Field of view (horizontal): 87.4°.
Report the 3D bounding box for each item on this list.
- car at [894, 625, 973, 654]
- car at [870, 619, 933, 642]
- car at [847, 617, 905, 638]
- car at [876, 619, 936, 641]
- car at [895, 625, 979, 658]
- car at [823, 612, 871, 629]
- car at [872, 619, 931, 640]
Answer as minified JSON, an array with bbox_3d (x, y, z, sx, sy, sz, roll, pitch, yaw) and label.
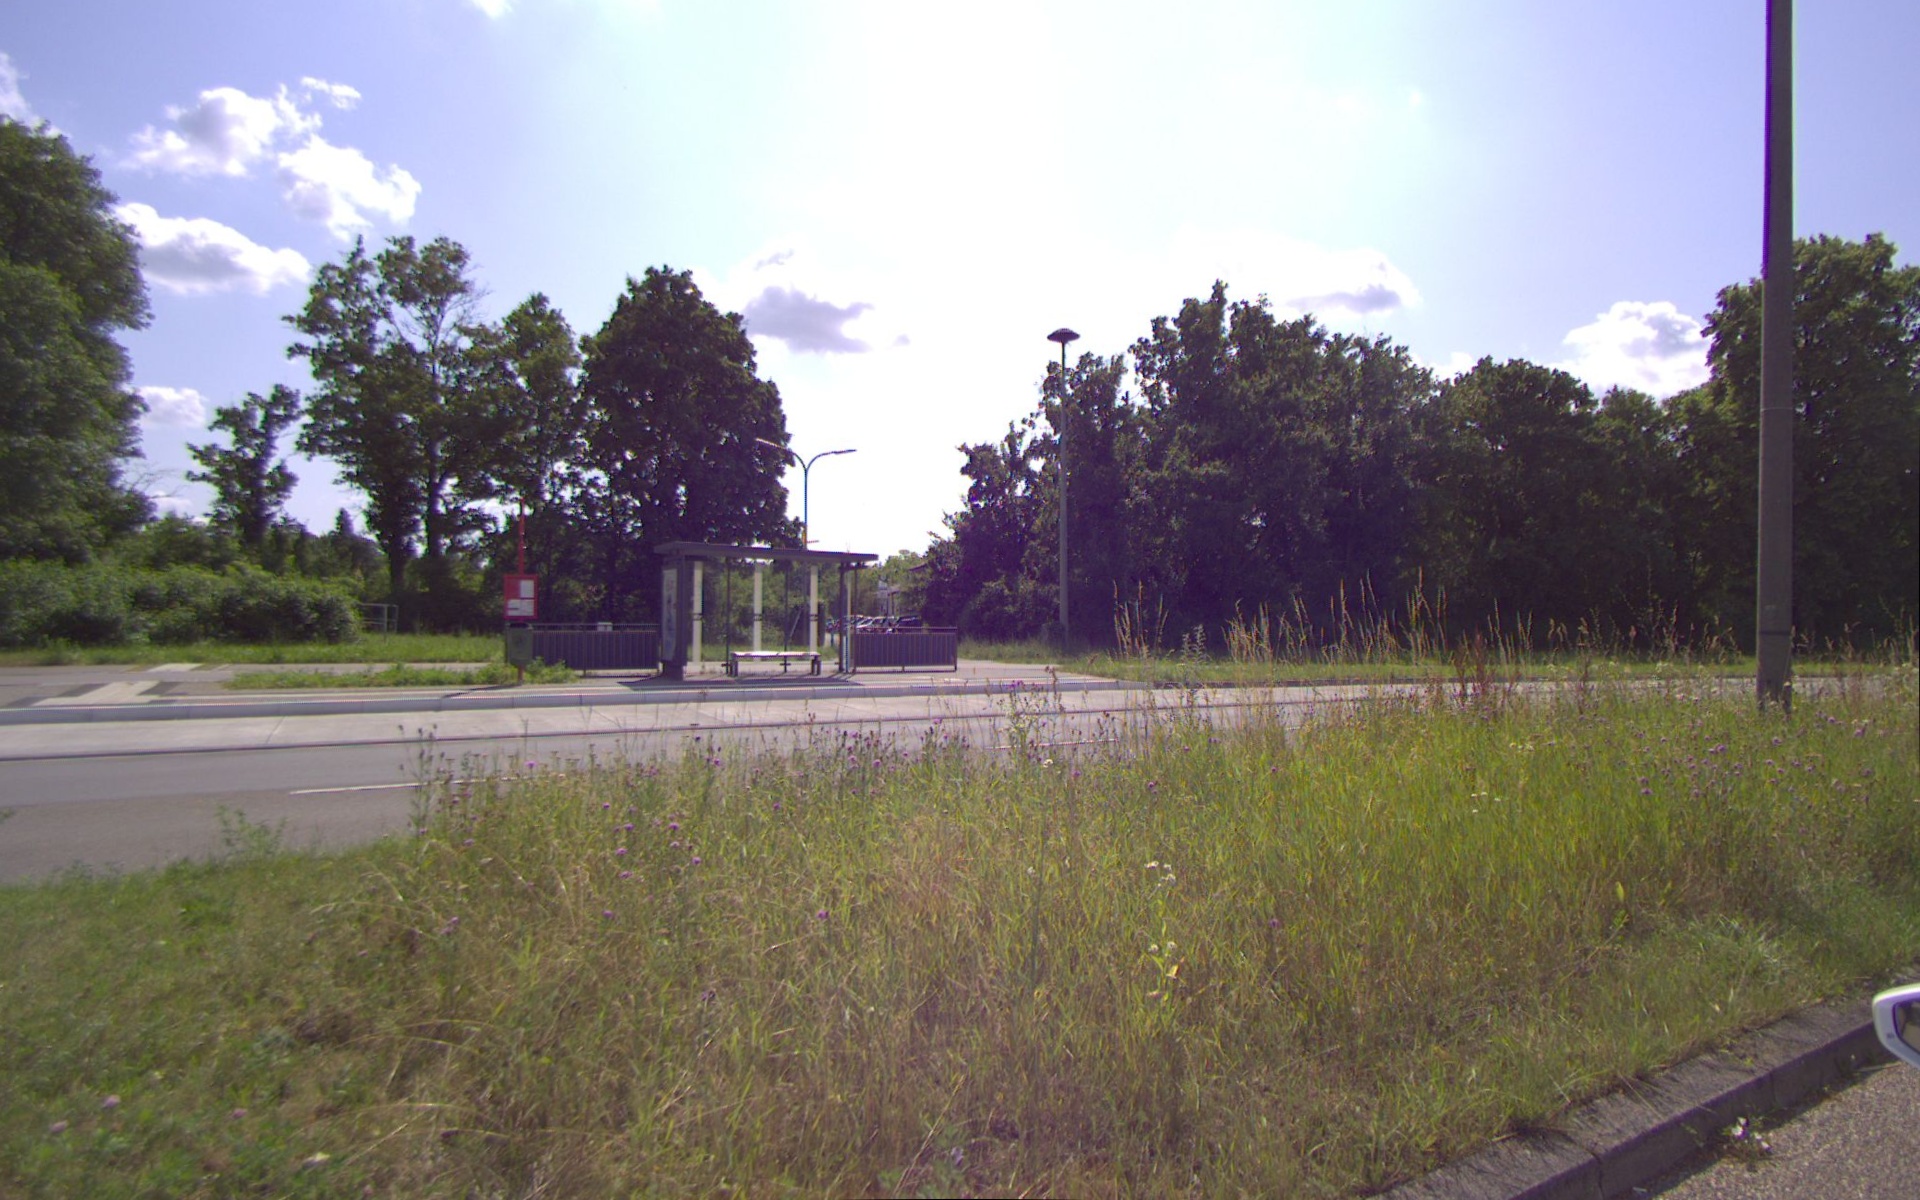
[{"bbox_3d":[-1.413,2.103,54.227,3.919,1.439,2.001,1,0,10],"label":"car"},{"bbox_3d":[-3.962,2.089,68.270,3.919,1.439,1.840,1,0,10],"label":"car"},{"bbox_3d":[-6.273,2.064,75.044,3.919,1.439,1.840,1,0,10],"label":"car"},{"bbox_3d":[-3.762,2.073,70.440,3.919,1.439,1.840,1,0,10],"label":"car"},{"bbox_3d":[-1.084,2.023,49.448,3.919,1.528,1.761,1,0,6],"label":"car"},{"bbox_3d":[-10.151,1.849,90.238,3.919,1.439,1.840,1,0,10],"label":"car"},{"bbox_3d":[-4.219,2.118,72.747,3.919,1.439,1.840,1,0,10],"label":"car"}]
